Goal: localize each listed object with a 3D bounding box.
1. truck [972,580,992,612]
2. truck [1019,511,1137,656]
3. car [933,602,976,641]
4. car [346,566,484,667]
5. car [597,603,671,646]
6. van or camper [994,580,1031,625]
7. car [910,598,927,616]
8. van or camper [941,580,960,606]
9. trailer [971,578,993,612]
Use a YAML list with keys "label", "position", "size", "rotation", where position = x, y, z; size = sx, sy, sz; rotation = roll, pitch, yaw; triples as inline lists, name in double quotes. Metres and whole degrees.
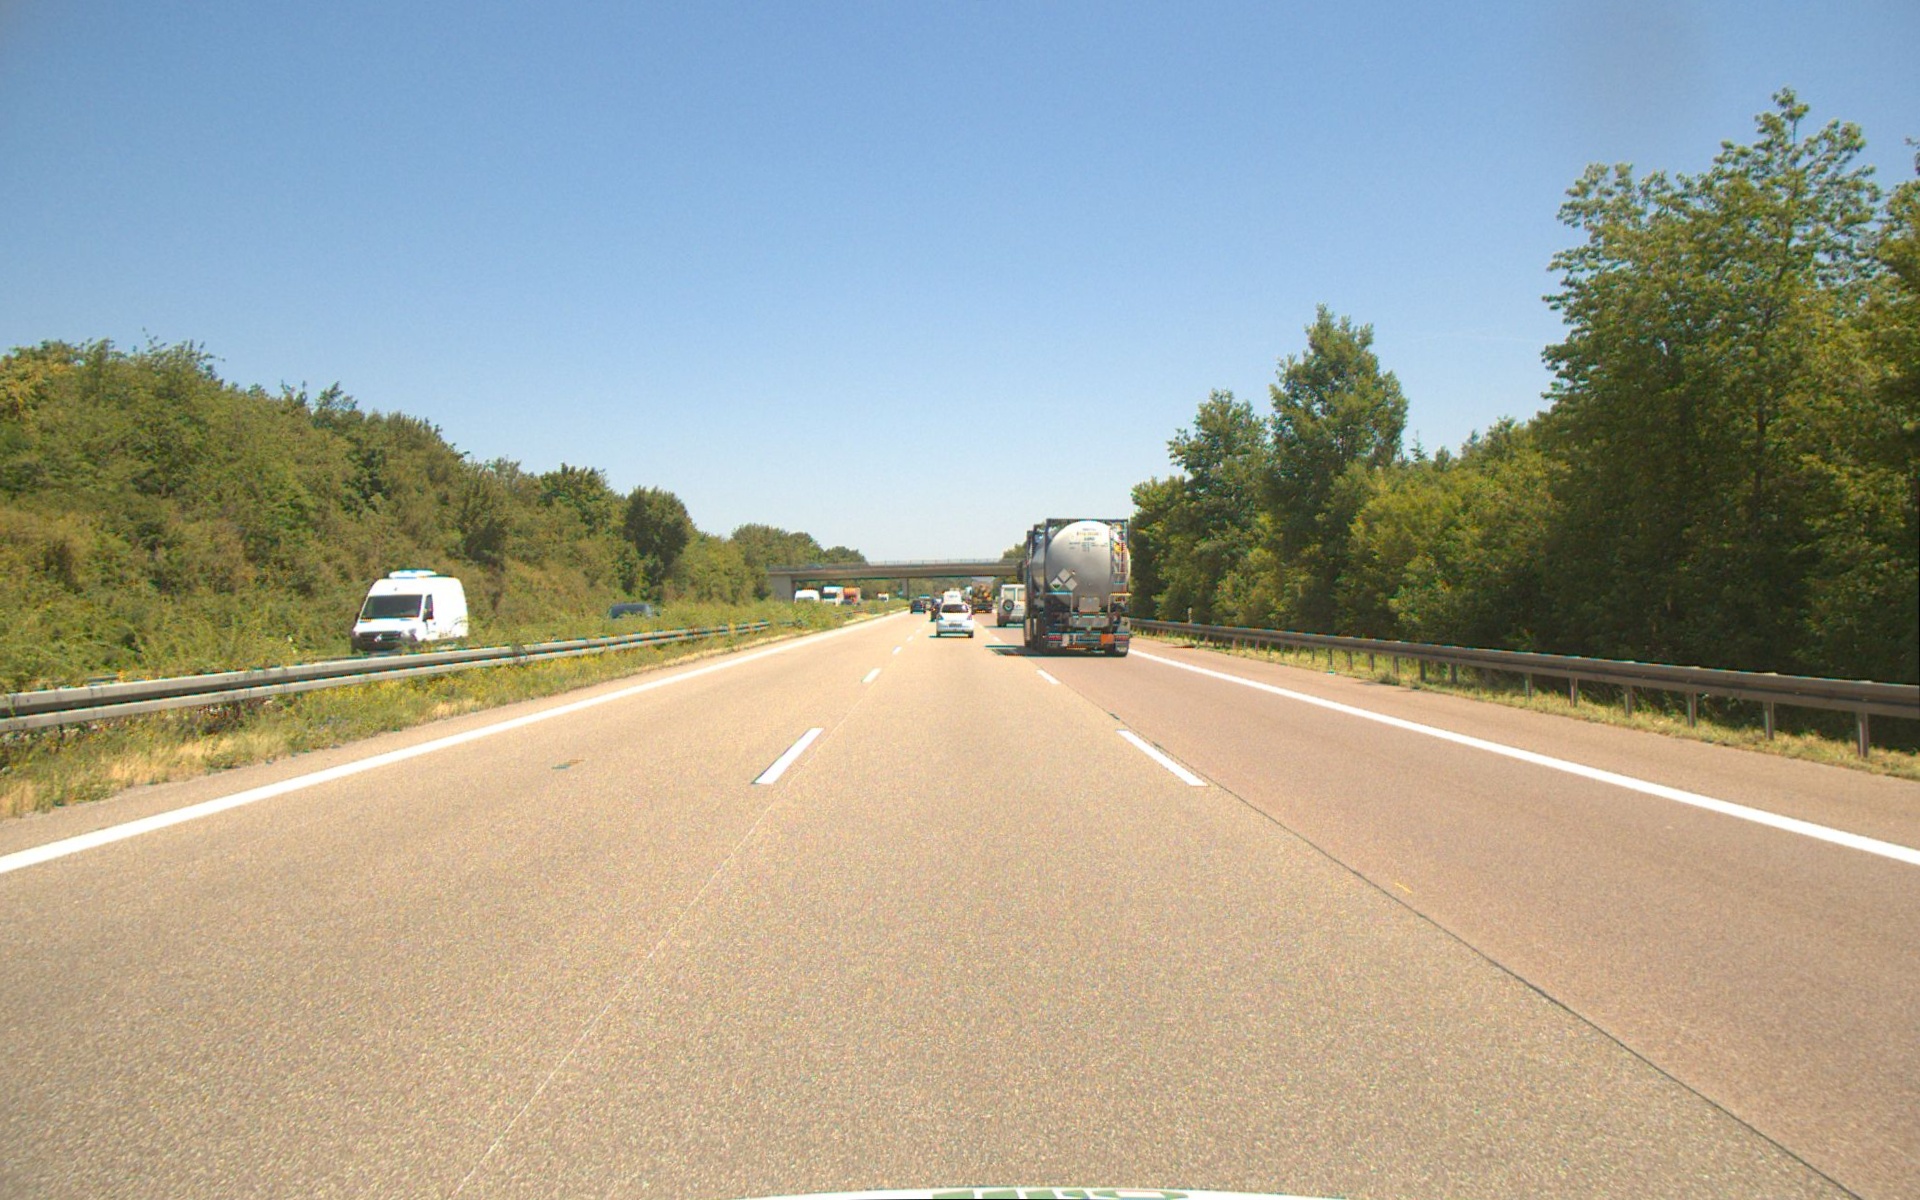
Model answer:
- label: "truck"
  position: [2.836, -0.553, 213.812]
  size: [2.615, 4.064, 6.636]
  rotation: [0, 0, 1]
- label: "truck"
  position: [3.607, -0.449, 53.947]
  size: [2.741, 4.117, 13.352]
  rotation: [1, 0, 0]
- label: "car"
  position: [-0.278, 0.938, 73.902]
  size: [1.819, 1.681, 3.999]
  rotation: [1, 0, -1]
- label: "car"
  position: [-16.460, 0.469, 50.365]
  size: [1.994, 2.794, 6.657]
  rotation: [-2, 0, -1]
- label: "car"
  position: [-12.681, 0.917, 64.706]
  size: [1.953, 1.594, 5.043]
  rotation: [-1, 0, -1]
- label: "van or camper"
  position: [3.323, 0.155, 106.045]
  size: [2.070, 2.750, 6.366]
  rotation: [0, 0, 0]
- label: "car"
  position: [-4.870, 0.777, 194.118]
  size: [2.010, 2.049, 4.175]
  rotation: [1, 0, -1]
- label: "van or camper"
  position: [-1.016, -0.743, 177.949]
  size: [2.016, 2.668, 5.985]
  rotation: [0, 0, 1]
- label: "trailer"
  position: [2.726, -0.580, 206.565]
  size: [2.598, 4.028, 13.637]
  rotation: [0, 0, 1]
